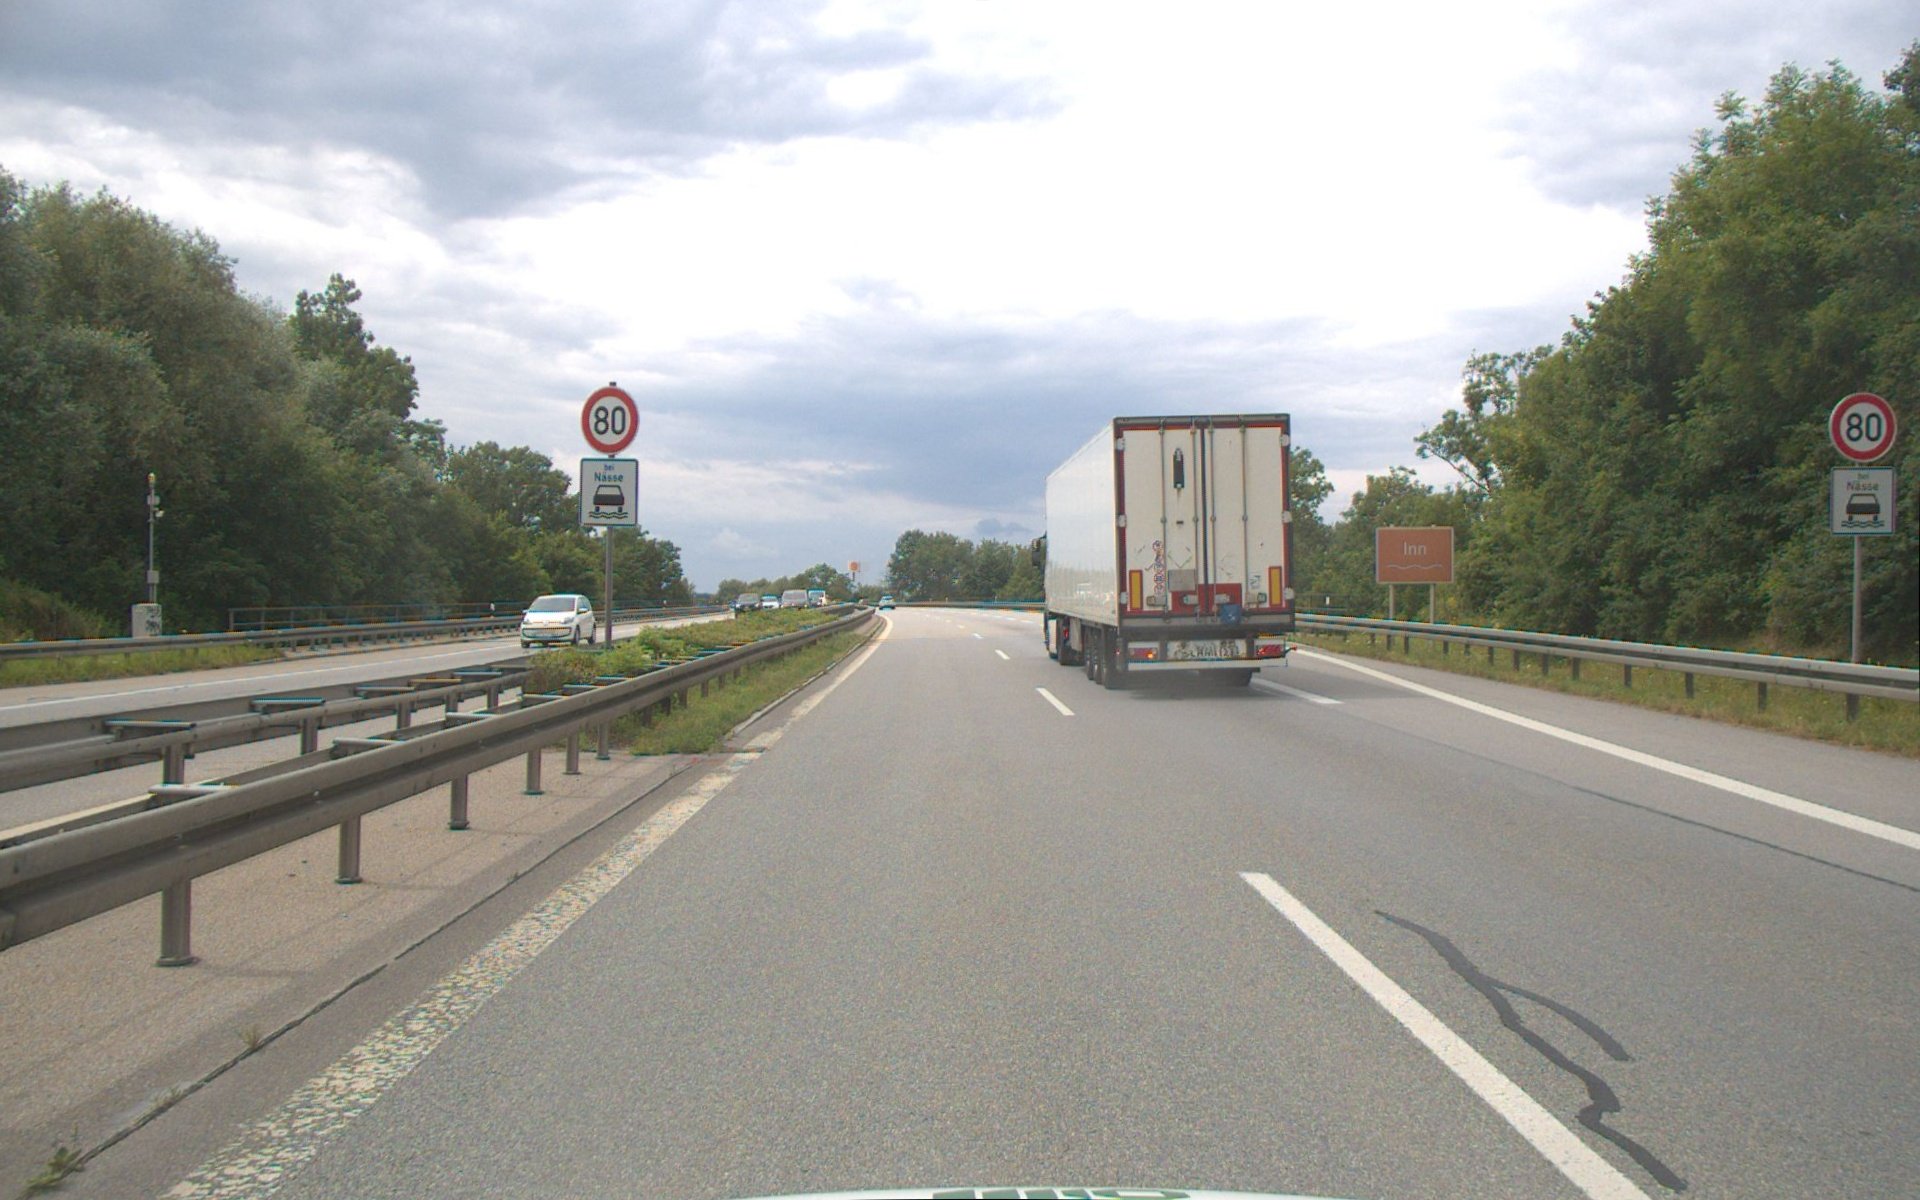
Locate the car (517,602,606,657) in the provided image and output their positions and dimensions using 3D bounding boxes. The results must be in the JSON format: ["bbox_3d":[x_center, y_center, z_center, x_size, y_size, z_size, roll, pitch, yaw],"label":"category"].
[{"bbox_3d":[-11.677,0.824,48.713,1.616,1.518,4.282,1,0,-1],"label":"car"}]

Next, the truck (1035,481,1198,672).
[{"bbox_3d":[3.396,-0.496,37.429,3.000,3.960,5.998,0,0,-1],"label":"truck"}]

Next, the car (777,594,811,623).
[{"bbox_3d":[-9.996,0.518,99.857,1.690,1.679,4.222,0,1,-1],"label":"car"}]

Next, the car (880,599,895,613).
[{"bbox_3d":[-9.423,0.799,214.634,1.865,1.669,4.392,-1,-1,-4],"label":"car"}]

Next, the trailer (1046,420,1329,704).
[{"bbox_3d":[3.543,-0.529,30.047,3.000,3.959,13.787,0,0,-1],"label":"trailer"}]

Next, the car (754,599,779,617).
[{"bbox_3d":[-16.430,0.666,140.426,1.808,1.463,3.934,-2,0,-2],"label":"car"}]

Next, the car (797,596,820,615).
[{"bbox_3d":[-13.494,0.488,147.632,1.808,1.640,4.944,1,0,-2],"label":"car"}]

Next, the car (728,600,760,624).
[{"bbox_3d":[-14.588,0.786,111.871,1.694,1.587,4.330,-1,0,-1],"label":"car"}]
